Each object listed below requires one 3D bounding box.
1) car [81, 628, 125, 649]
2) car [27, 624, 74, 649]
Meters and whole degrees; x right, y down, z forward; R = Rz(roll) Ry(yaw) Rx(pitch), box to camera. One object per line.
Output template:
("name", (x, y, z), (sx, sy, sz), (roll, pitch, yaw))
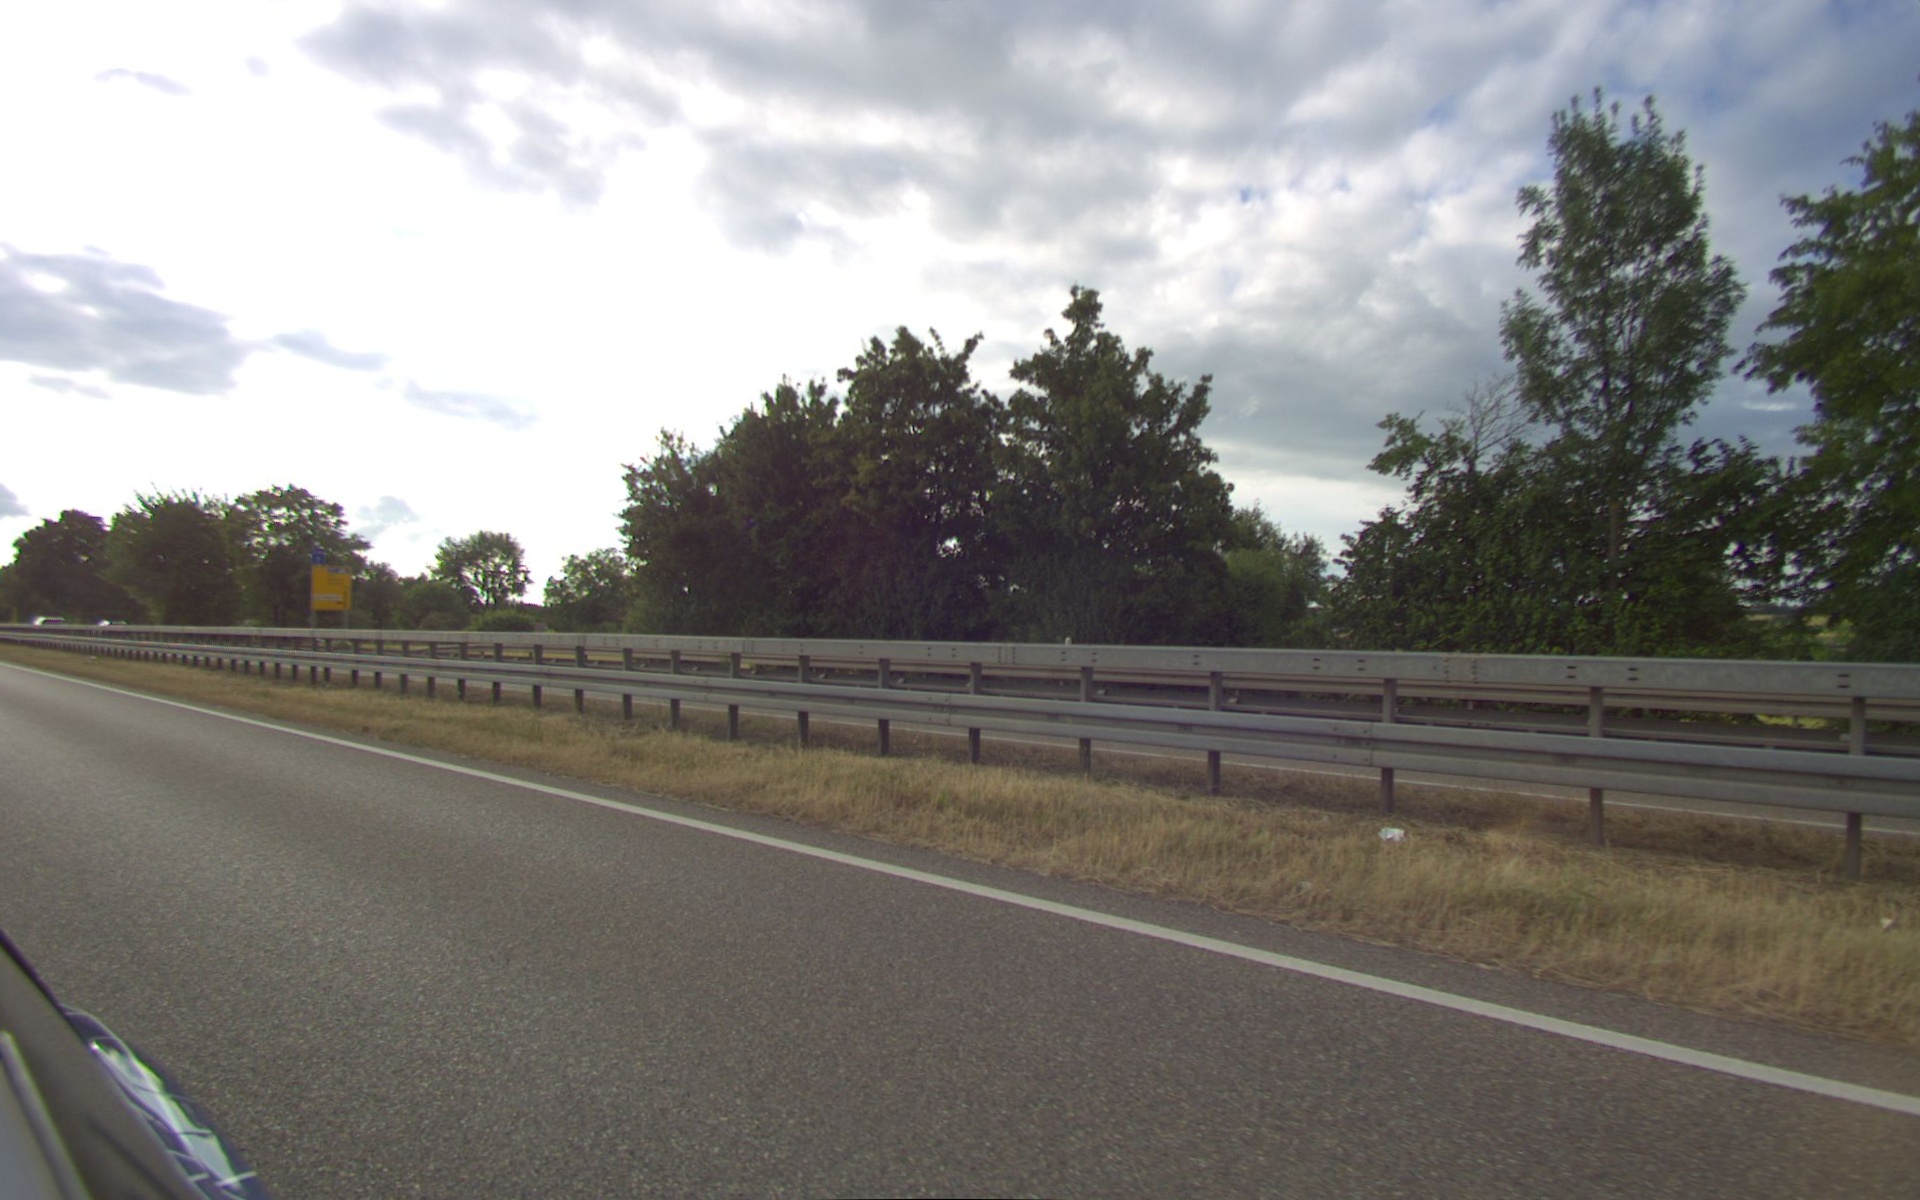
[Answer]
("car", (-64.189, 2.872, 75.774), (4.459, 1.489, 1.887), (-1, -1, 41))
("car", (-62.258, 2.481, 69.247), (4.373, 1.627, 1.779), (-1, -4, 41))
